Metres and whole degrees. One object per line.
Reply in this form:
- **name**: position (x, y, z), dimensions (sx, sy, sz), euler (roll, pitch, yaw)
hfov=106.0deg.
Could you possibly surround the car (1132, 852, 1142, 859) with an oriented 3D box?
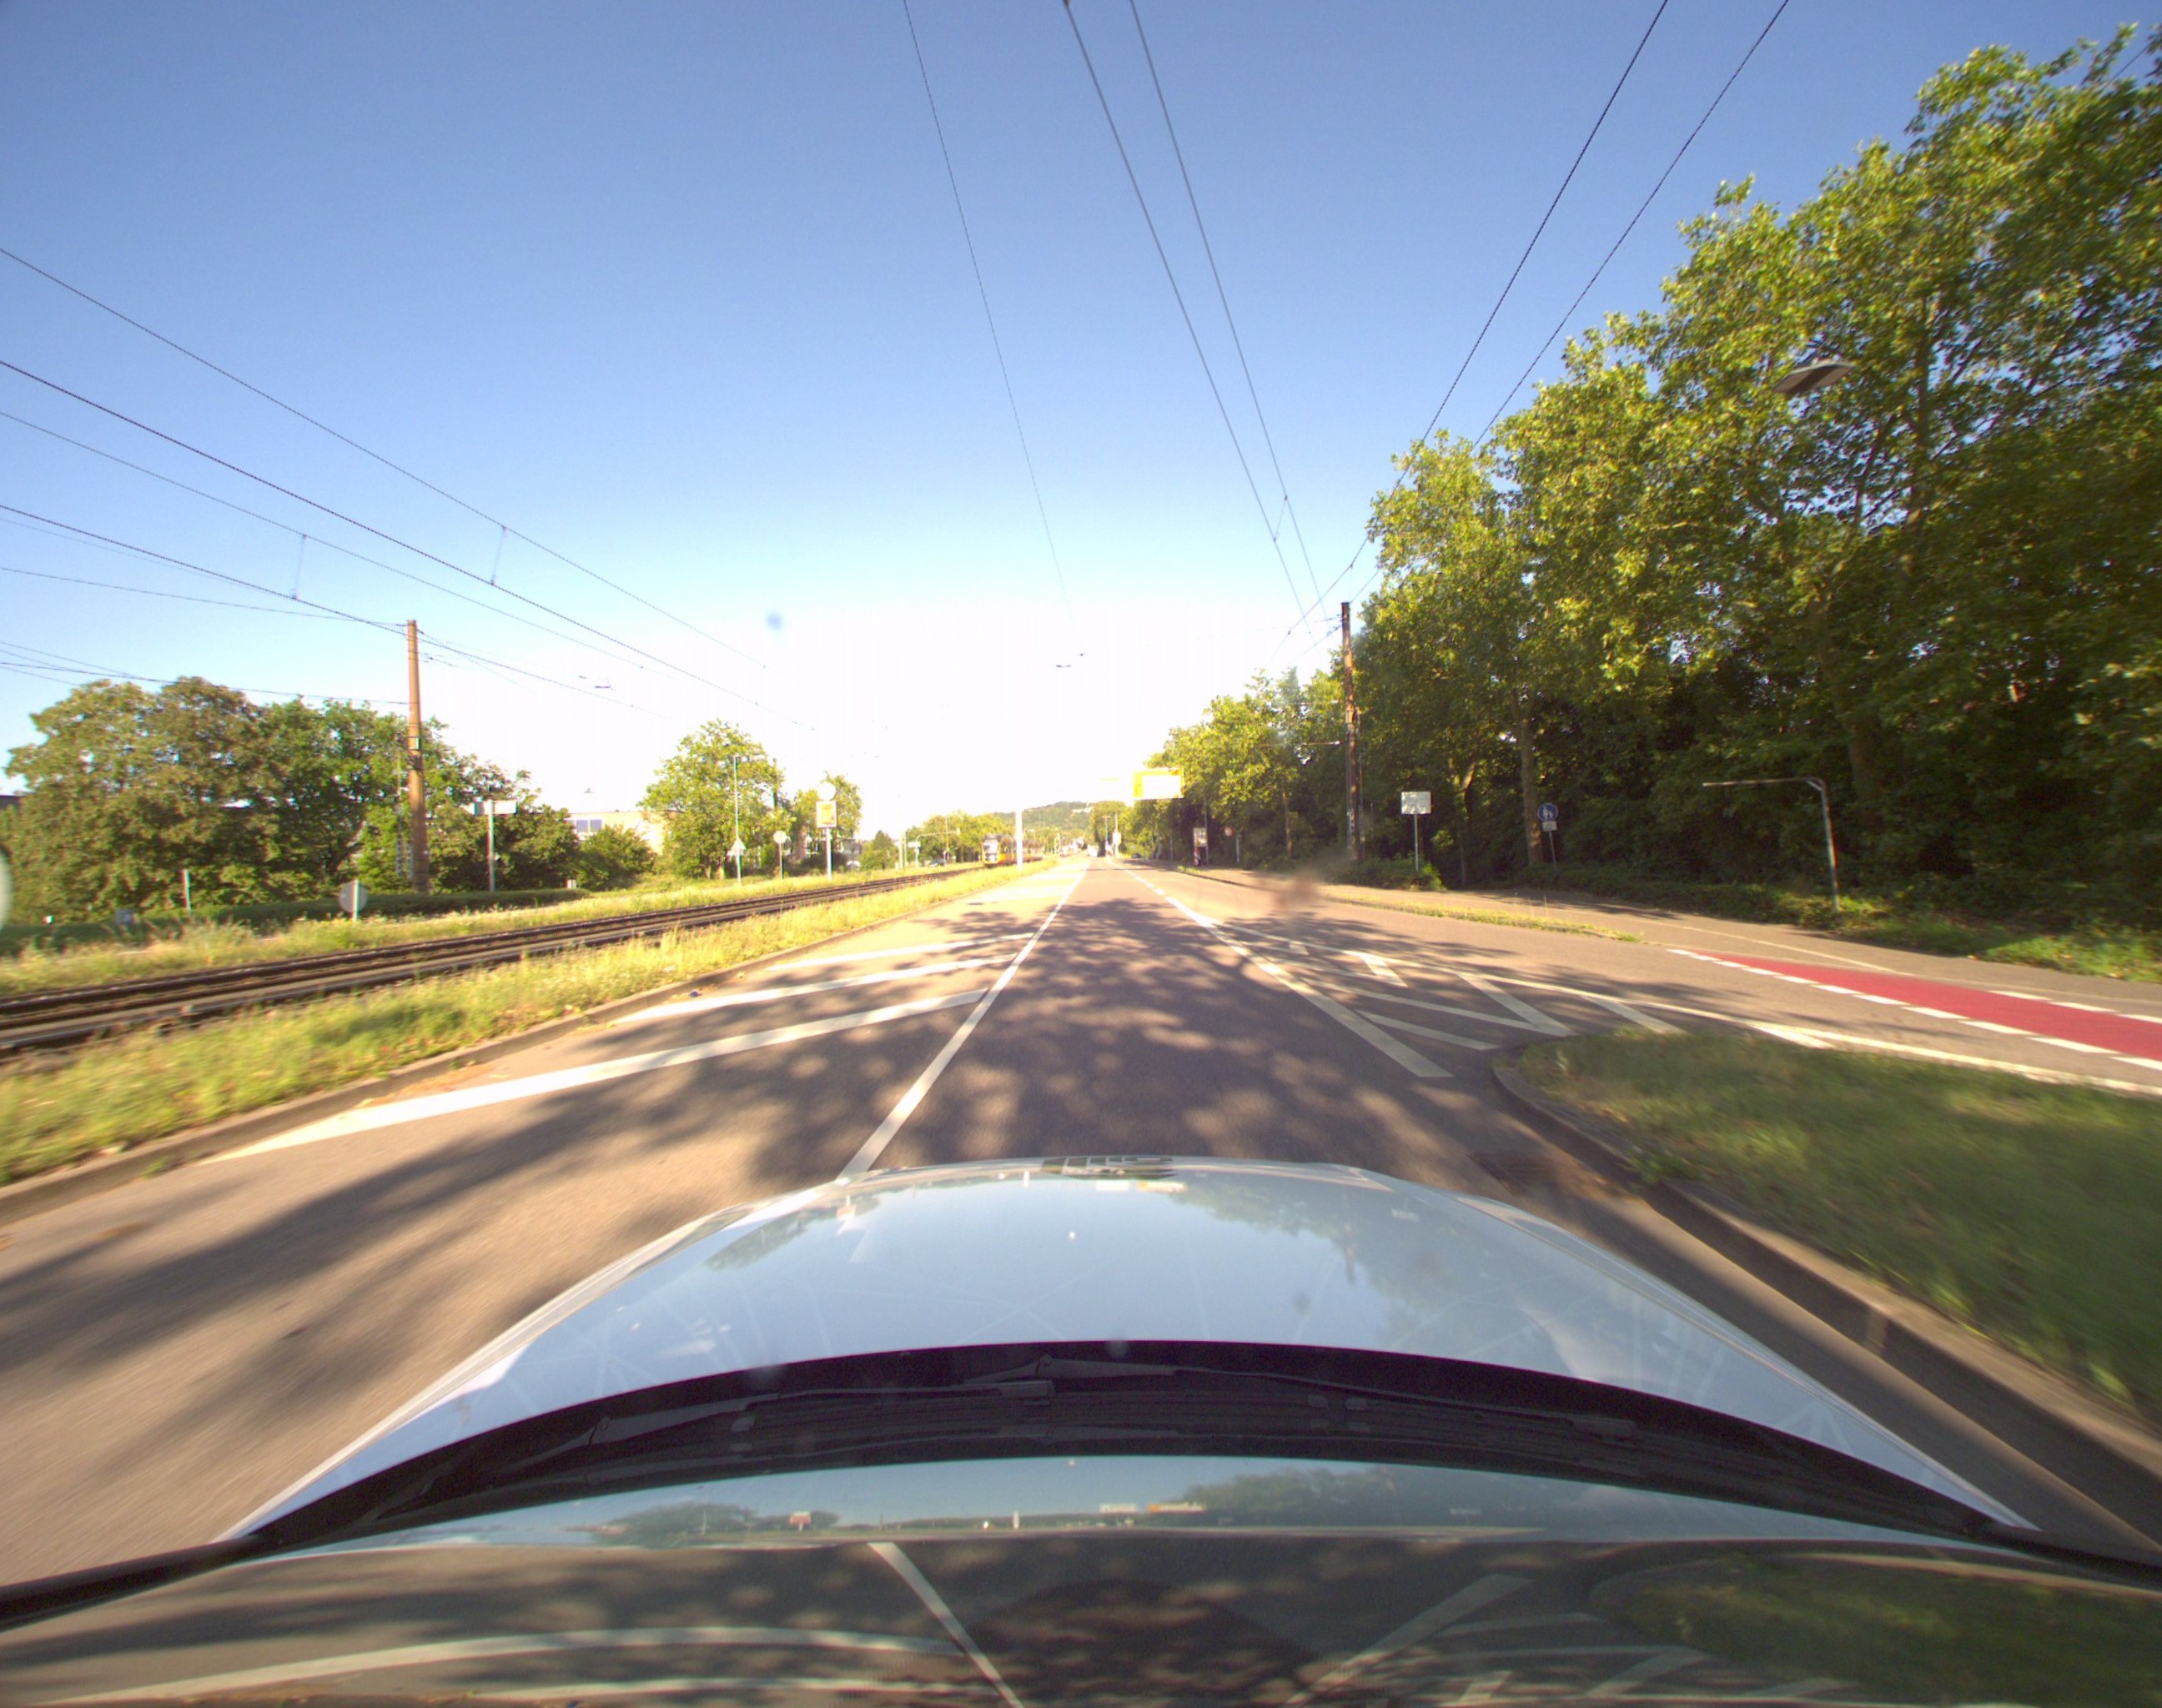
- **car**: position (13.420, 0.268, 193.788), dimensions (2.075, 1.566, 3.963), euler (-1, 0, 7)

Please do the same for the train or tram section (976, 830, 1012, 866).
- **train or tram section**: position (-10.109, -0.678, 95.883), dimensions (2.795, 3.902, 12.332), euler (-1, 0, 0)

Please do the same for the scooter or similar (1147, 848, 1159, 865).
- **scooter or similar**: position (12.175, 0.427, 138.281), dimensions (1.675, 2.715, 4.870), euler (-1, 0, 1)

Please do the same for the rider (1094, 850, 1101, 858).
- **rider**: position (5.036, -0.001, 252.840), dimensions (2.098, 2.647, 0.738), euler (-2, 0, 6)
